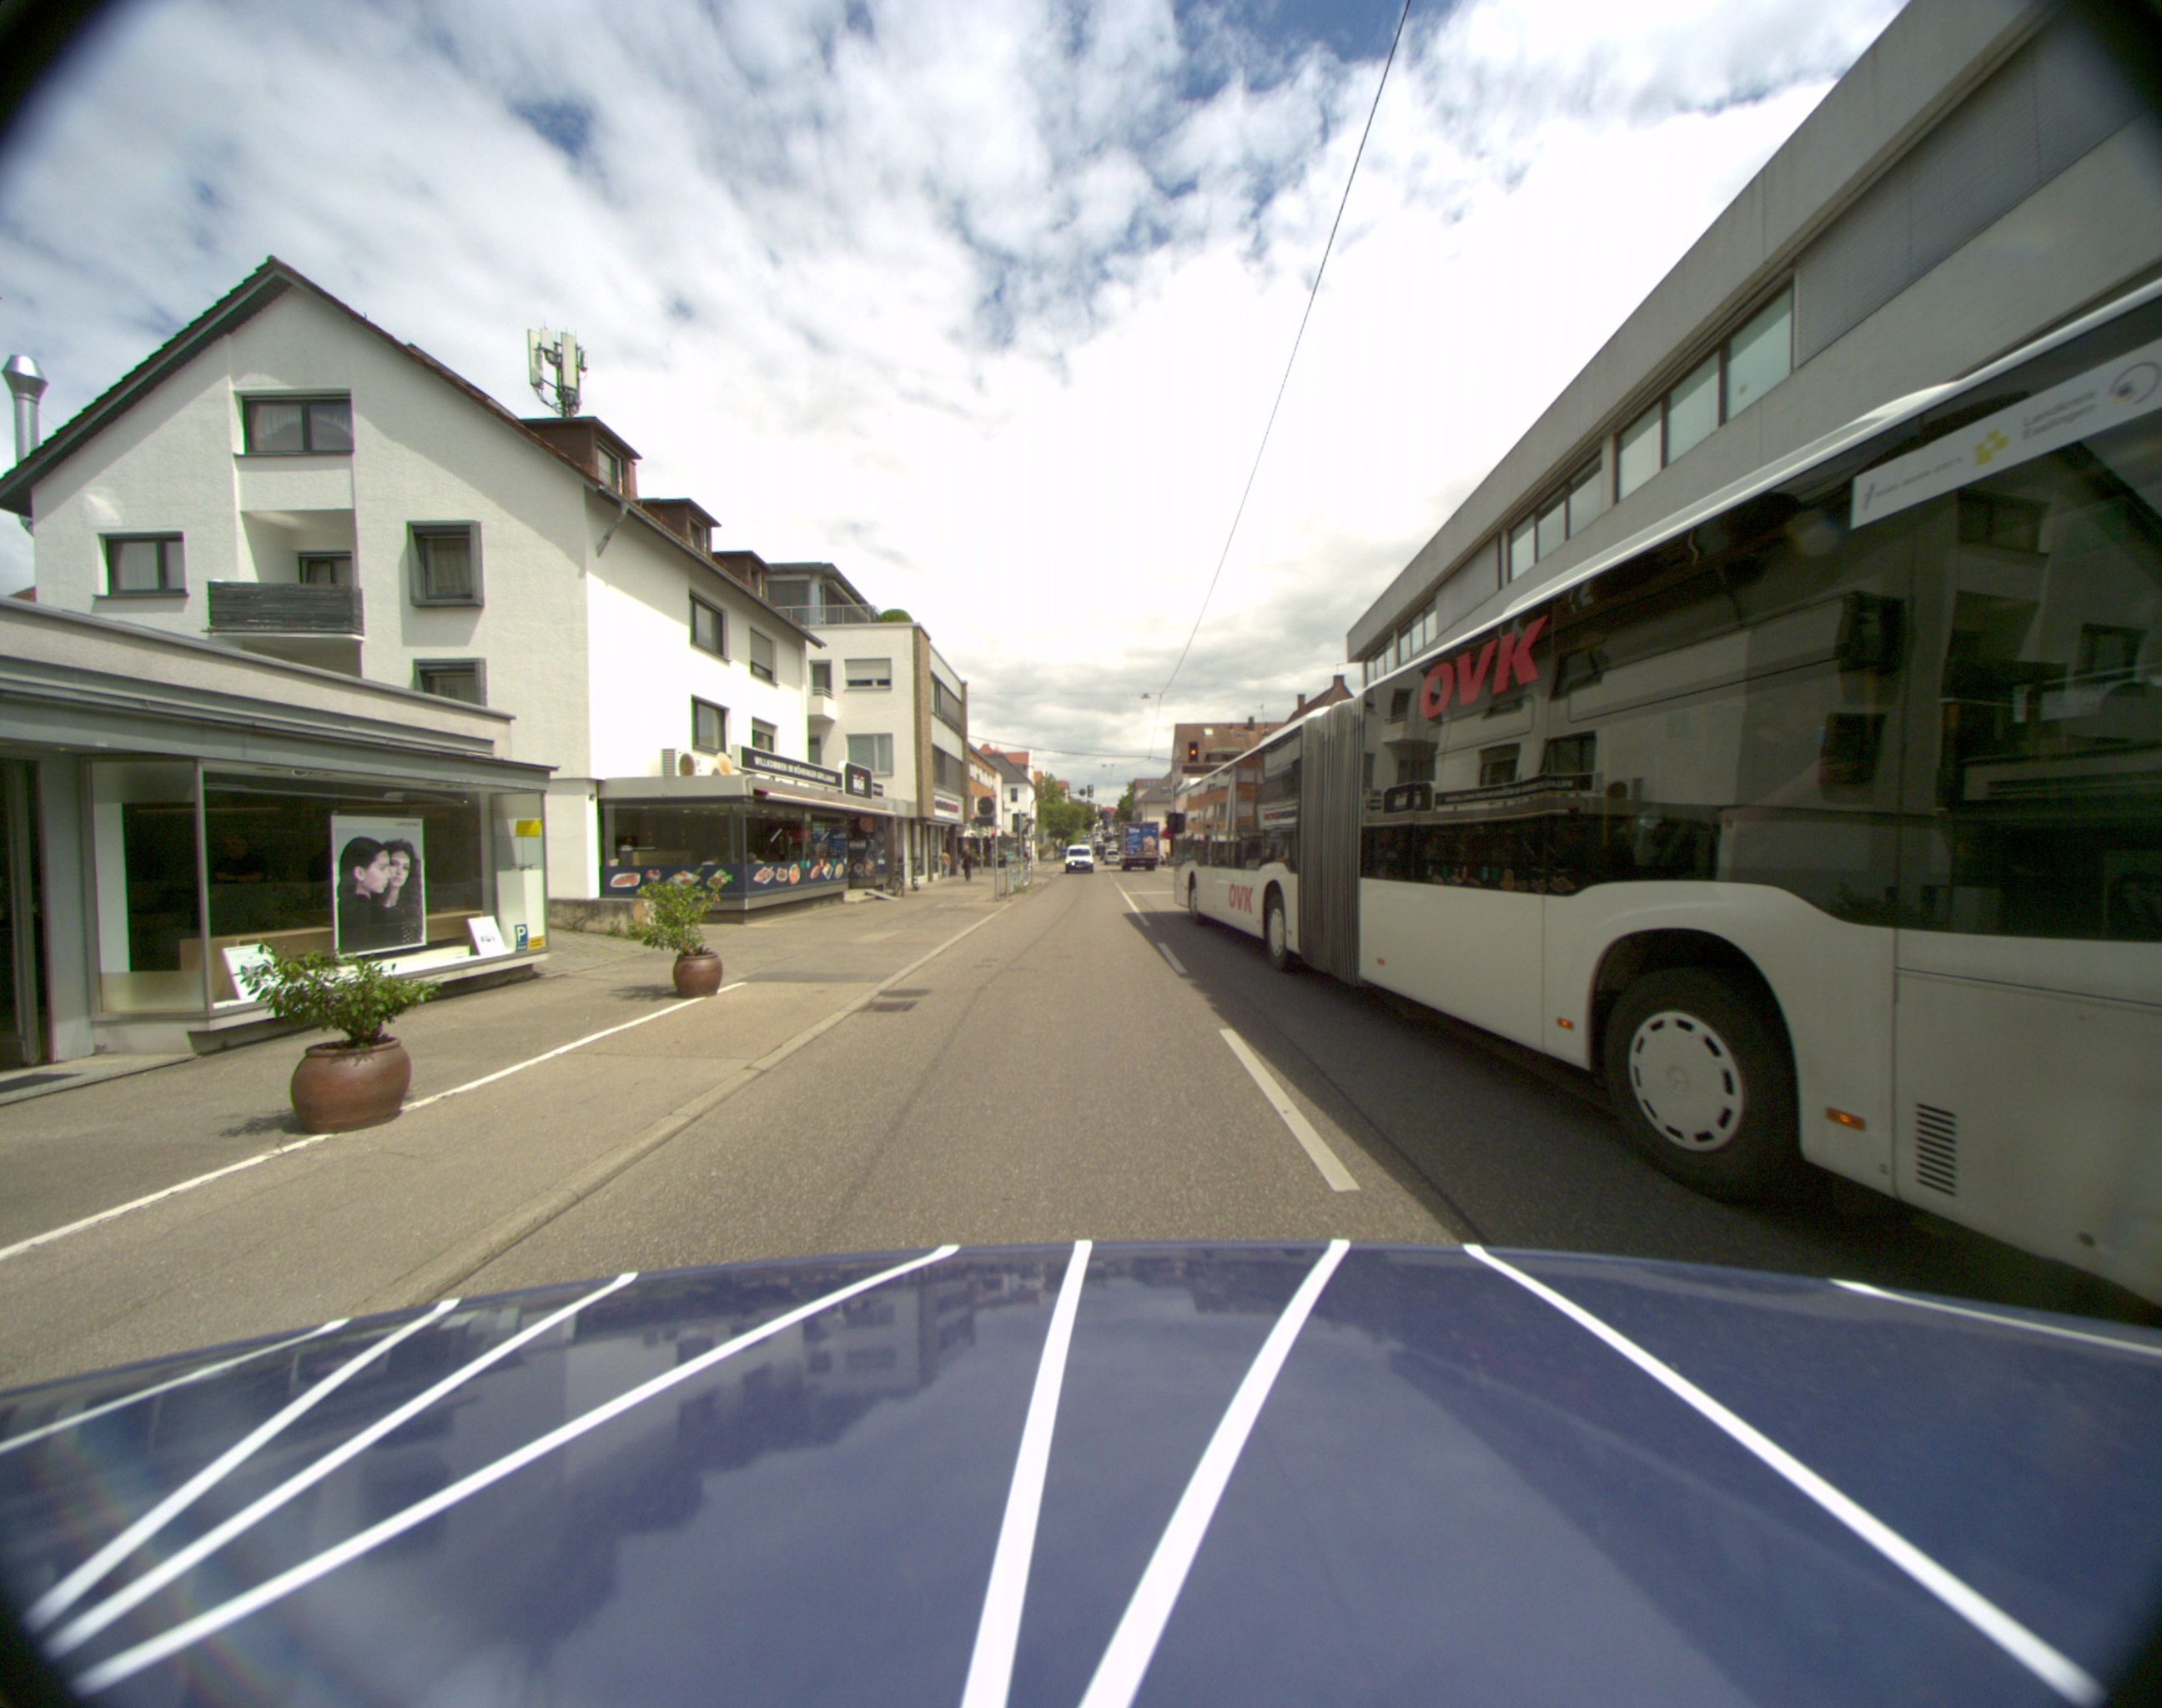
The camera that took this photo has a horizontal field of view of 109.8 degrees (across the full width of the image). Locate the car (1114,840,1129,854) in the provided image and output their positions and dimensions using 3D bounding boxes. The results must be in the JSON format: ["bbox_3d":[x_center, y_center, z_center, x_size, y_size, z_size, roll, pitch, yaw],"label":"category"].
[{"bbox_3d":[6.539,-1.179,122.870,2.110,2.109,4.765,-1,1,1],"label":"car"}]

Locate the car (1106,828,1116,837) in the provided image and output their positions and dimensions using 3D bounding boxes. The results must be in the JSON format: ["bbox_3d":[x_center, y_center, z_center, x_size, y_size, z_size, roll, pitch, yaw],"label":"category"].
[{"bbox_3d":[6.838,-4.910,174.551,2.110,2.109,4.765,-1,1,1],"label":"car"}]

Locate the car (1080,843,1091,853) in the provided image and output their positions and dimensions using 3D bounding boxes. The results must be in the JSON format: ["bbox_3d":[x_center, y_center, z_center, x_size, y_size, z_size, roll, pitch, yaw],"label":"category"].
[{"bbox_3d":[0.806,-1.020,132.708,1.998,1.654,4.000,0,1,1],"label":"car"}]

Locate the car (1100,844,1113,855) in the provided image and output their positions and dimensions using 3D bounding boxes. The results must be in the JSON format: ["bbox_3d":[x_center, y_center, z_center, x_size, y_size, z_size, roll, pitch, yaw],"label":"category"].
[{"bbox_3d":[3.562,-0.636,107.154,1.681,1.626,2.833,0,1,-1],"label":"car"}]

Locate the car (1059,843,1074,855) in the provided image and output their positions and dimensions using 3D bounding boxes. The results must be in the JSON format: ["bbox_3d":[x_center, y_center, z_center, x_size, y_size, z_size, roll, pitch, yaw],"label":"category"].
[{"bbox_3d":[-2.129,-0.754,113.050,1.998,1.654,4.000,0,1,1],"label":"car"}]

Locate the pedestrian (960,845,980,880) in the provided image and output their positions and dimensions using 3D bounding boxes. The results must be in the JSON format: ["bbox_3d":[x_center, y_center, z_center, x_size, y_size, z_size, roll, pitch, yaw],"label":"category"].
[{"bbox_3d":[-5.259,0.406,36.072,0.797,1.661,0.807,0,1,0],"label":"pedestrian"}]

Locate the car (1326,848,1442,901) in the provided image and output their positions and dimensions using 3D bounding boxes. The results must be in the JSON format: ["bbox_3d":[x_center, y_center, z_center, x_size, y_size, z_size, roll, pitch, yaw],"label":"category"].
[{"bbox_3d":[9.515,0.565,24.318,2.049,1.436,4.953,-2,1,5],"label":"car"}]

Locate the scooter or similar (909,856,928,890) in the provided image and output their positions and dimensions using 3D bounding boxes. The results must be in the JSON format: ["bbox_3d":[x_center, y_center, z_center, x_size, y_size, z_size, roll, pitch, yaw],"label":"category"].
[{"bbox_3d":[-6.255,0.713,29.247,0.690,1.260,1.184,-1,2,-11],"label":"scooter or similar"}]

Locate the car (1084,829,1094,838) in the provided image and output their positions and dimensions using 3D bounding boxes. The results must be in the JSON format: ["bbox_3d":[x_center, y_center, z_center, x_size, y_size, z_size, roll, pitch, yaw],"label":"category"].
[{"bbox_3d":[1.863,-4.612,171.348,2.149,1.747,3.973,0,1,1],"label":"car"}]

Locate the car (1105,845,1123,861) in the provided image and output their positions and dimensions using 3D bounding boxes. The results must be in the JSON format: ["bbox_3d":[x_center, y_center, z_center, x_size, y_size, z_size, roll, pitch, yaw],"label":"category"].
[{"bbox_3d":[3.926,-0.151,90.297,1.950,1.810,4.278,0,1,1],"label":"car"}]

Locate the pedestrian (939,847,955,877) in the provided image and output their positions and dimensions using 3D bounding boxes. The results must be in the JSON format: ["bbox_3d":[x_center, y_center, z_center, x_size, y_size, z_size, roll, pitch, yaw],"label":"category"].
[{"bbox_3d":[-6.781,0.410,38.440,0.681,1.490,0.720,0,1,1],"label":"pedestrian"}]

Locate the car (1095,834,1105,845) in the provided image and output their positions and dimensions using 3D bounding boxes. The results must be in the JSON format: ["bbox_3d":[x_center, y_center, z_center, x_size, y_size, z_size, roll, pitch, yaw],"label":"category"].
[{"bbox_3d":[3.596,-2.771,144.882,1.819,1.919,4.112,0,1,1],"label":"car"}]

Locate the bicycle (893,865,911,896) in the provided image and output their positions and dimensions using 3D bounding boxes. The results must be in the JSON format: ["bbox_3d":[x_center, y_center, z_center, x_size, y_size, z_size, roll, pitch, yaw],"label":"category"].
[{"bbox_3d":[-6.238,0.911,26.534,0.476,1.022,1.634,0,1,-8],"label":"bicycle"}]

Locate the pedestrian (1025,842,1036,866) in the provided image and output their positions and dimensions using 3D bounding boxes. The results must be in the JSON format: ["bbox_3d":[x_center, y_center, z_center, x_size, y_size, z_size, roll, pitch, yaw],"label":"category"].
[{"bbox_3d":[-3.977,-0.006,59.940,0.581,1.820,0.882,1,1,17],"label":"pedestrian"}]

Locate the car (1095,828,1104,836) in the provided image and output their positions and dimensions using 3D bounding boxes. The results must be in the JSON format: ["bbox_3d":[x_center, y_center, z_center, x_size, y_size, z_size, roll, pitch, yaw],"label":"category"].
[{"bbox_3d":[4.552,-5.400,188.426,1.982,1.985,5.027,0,1,-1],"label":"car"}]

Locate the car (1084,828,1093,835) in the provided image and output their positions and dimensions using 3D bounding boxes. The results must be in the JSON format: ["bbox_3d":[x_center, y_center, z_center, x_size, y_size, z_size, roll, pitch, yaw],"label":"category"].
[{"bbox_3d":[2.000,-5.755,198.954,2.149,1.747,3.973,0,1,1],"label":"car"}]

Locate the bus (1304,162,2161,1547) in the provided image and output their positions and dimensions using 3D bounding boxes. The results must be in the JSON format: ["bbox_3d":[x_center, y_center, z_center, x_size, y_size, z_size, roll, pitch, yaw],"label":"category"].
[{"bbox_3d":[3.752,-0.030,3.723,2.723,3.145,8.065,-1,1,-2],"label":"bus"}]

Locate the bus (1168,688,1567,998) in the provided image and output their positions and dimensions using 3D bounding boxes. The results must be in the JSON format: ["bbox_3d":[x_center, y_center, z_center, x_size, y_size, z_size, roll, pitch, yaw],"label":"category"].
[{"bbox_3d":[3.522,-0.181,12.862,2.689,3.145,10.181,-1,1,-1],"label":"bus"}]

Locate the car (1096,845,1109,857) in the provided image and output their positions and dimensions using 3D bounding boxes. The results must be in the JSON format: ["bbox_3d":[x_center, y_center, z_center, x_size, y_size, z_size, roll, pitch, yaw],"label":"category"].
[{"bbox_3d":[3.536,-0.569,125.954,1.953,1.866,4.875,-1,2,0],"label":"car"}]

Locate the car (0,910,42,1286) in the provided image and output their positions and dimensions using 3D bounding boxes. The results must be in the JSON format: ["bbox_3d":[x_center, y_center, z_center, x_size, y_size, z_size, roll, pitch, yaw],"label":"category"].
[{"bbox_3d":[-5.120,0.973,0.741,1.973,1.439,4.534,0,1,-1],"label":"car"}]

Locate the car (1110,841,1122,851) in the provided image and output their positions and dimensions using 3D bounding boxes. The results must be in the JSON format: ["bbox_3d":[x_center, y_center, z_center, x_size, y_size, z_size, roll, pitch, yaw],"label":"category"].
[{"bbox_3d":[6.506,-1.532,142.147,2.110,1.779,4.529,-1,1,1],"label":"car"}]

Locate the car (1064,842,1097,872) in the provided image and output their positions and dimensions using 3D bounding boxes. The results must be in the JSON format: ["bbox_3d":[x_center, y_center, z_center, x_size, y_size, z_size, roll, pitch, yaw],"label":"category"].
[{"bbox_3d":[-0.068,0.147,50.259,1.999,1.797,4.764,-2,1,-1],"label":"car"}]

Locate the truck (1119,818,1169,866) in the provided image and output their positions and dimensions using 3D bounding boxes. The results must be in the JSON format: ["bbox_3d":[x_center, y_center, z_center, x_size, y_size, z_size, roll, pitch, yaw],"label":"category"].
[{"bbox_3d":[4.269,-0.847,53.362,2.861,3.075,8.087,-1,1,0],"label":"truck"}]

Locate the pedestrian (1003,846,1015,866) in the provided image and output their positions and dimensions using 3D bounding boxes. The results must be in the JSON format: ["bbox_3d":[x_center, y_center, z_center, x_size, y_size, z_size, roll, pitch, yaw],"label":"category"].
[{"bbox_3d":[-5.602,0.161,59.399,0.779,1.517,0.819,0,1,3],"label":"pedestrian"}]
